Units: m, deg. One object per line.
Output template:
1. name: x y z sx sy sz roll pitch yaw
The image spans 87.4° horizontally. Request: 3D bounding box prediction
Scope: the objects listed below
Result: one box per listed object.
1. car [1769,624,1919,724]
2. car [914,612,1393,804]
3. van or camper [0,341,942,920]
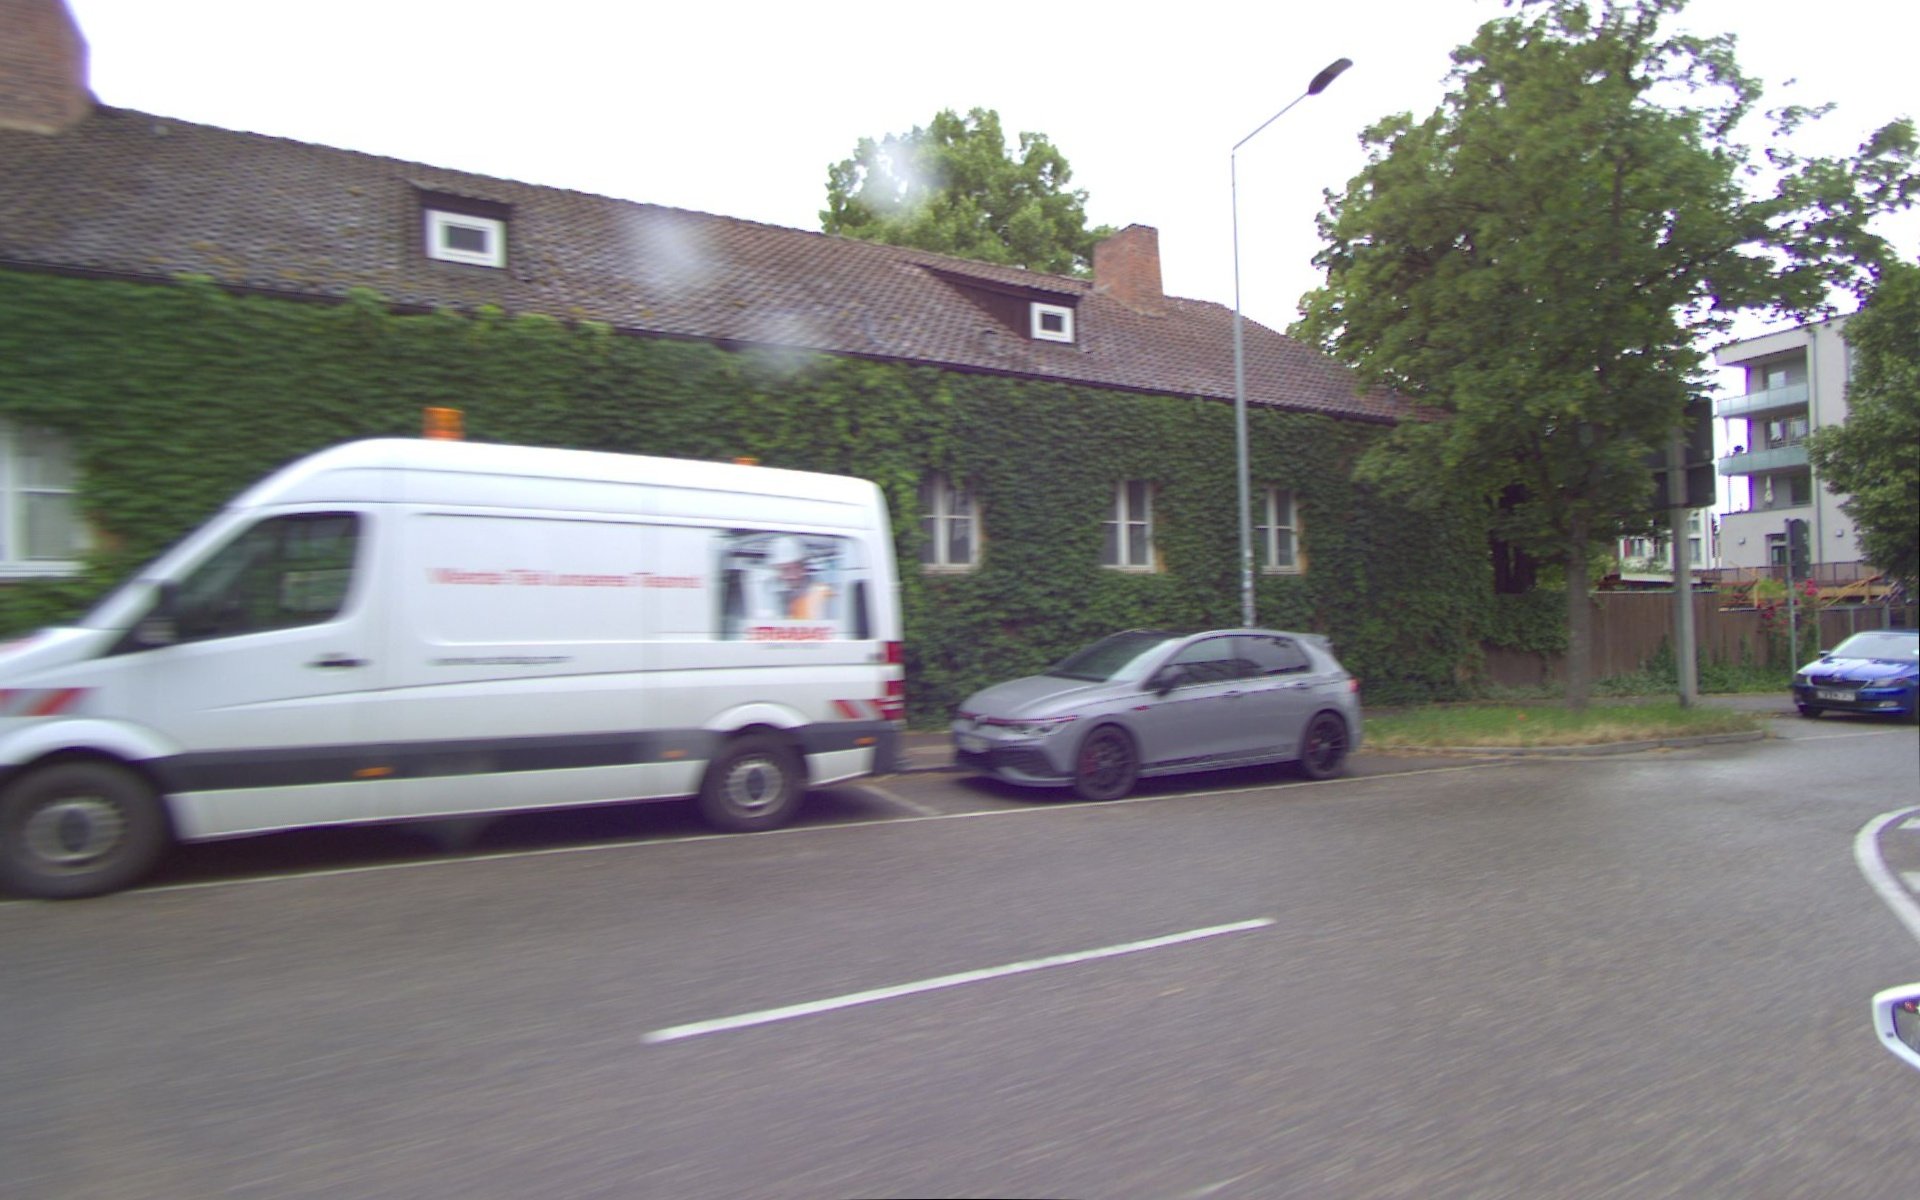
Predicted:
1. car: 15.928 1.172 16.856 4.126 1.489 1.989 1 -1 -23
2. car: 1.941 0.918 9.903 4.366 1.532 1.986 1 -1 -28
3. van or camper: -3.326 0.179 6.943 6.067 2.801 2.330 1 -1 -29
